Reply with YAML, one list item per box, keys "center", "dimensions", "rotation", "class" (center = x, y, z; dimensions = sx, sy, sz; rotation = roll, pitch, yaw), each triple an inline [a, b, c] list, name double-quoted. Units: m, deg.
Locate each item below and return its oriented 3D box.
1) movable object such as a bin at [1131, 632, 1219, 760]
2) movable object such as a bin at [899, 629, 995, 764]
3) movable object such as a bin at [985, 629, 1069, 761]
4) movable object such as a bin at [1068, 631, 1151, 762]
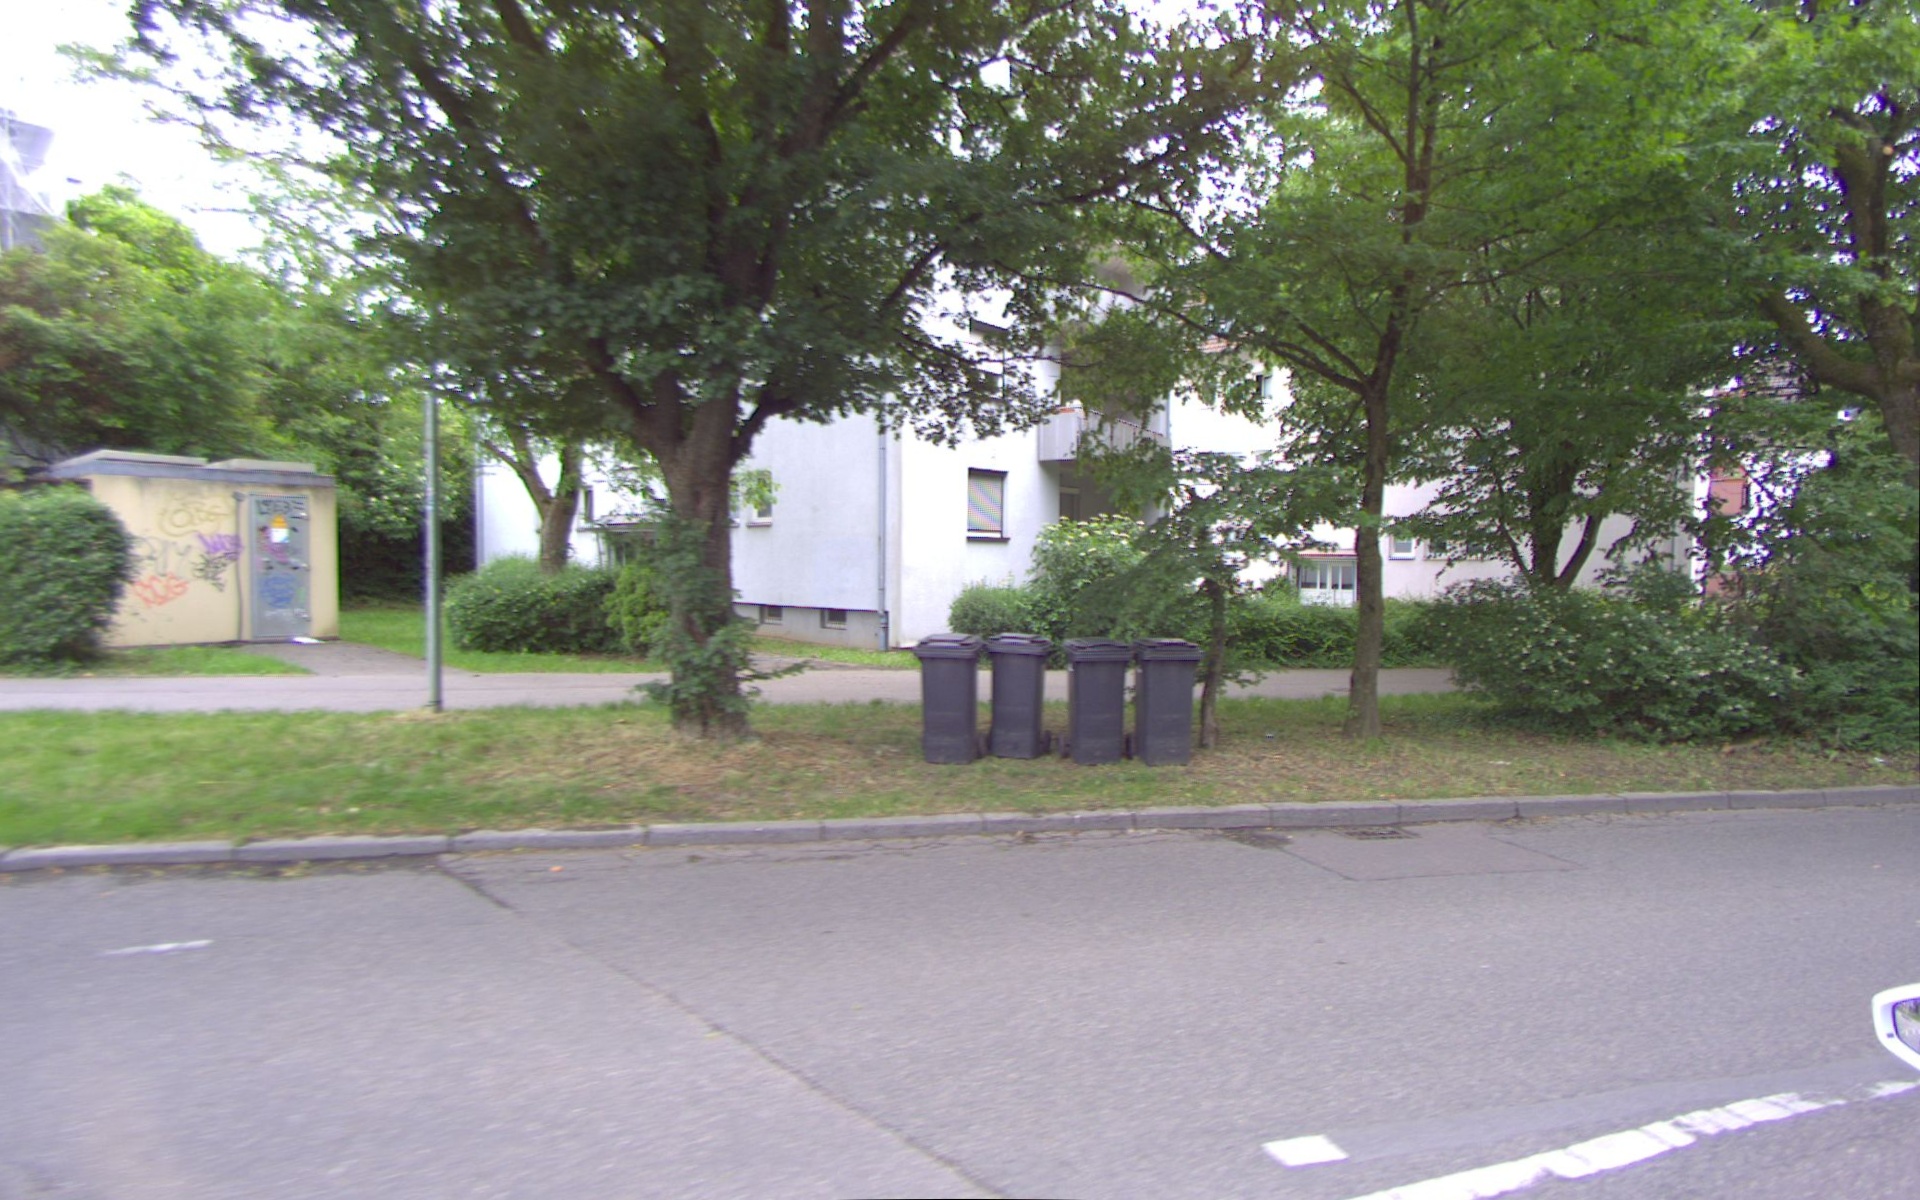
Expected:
- center: [1.615, 0.710, 7.618]
  dimensions: [0.566, 0.856, 0.601]
  rotation: [2, 4, 6]
  class: "movable object such as a bin"
- center: [-0.082, 0.699, 7.549]
  dimensions: [0.610, 0.875, 0.731]
  rotation: [2, 4, 6]
  class: "movable object such as a bin"
- center: [0.525, 0.705, 7.700]
  dimensions: [0.581, 0.891, 0.621]
  rotation: [2, 4, 6]
  class: "movable object such as a bin"
- center: [1.121, 0.713, 7.615]
  dimensions: [0.566, 0.878, 0.601]
  rotation: [2, 4, 6]
  class: "movable object such as a bin"
